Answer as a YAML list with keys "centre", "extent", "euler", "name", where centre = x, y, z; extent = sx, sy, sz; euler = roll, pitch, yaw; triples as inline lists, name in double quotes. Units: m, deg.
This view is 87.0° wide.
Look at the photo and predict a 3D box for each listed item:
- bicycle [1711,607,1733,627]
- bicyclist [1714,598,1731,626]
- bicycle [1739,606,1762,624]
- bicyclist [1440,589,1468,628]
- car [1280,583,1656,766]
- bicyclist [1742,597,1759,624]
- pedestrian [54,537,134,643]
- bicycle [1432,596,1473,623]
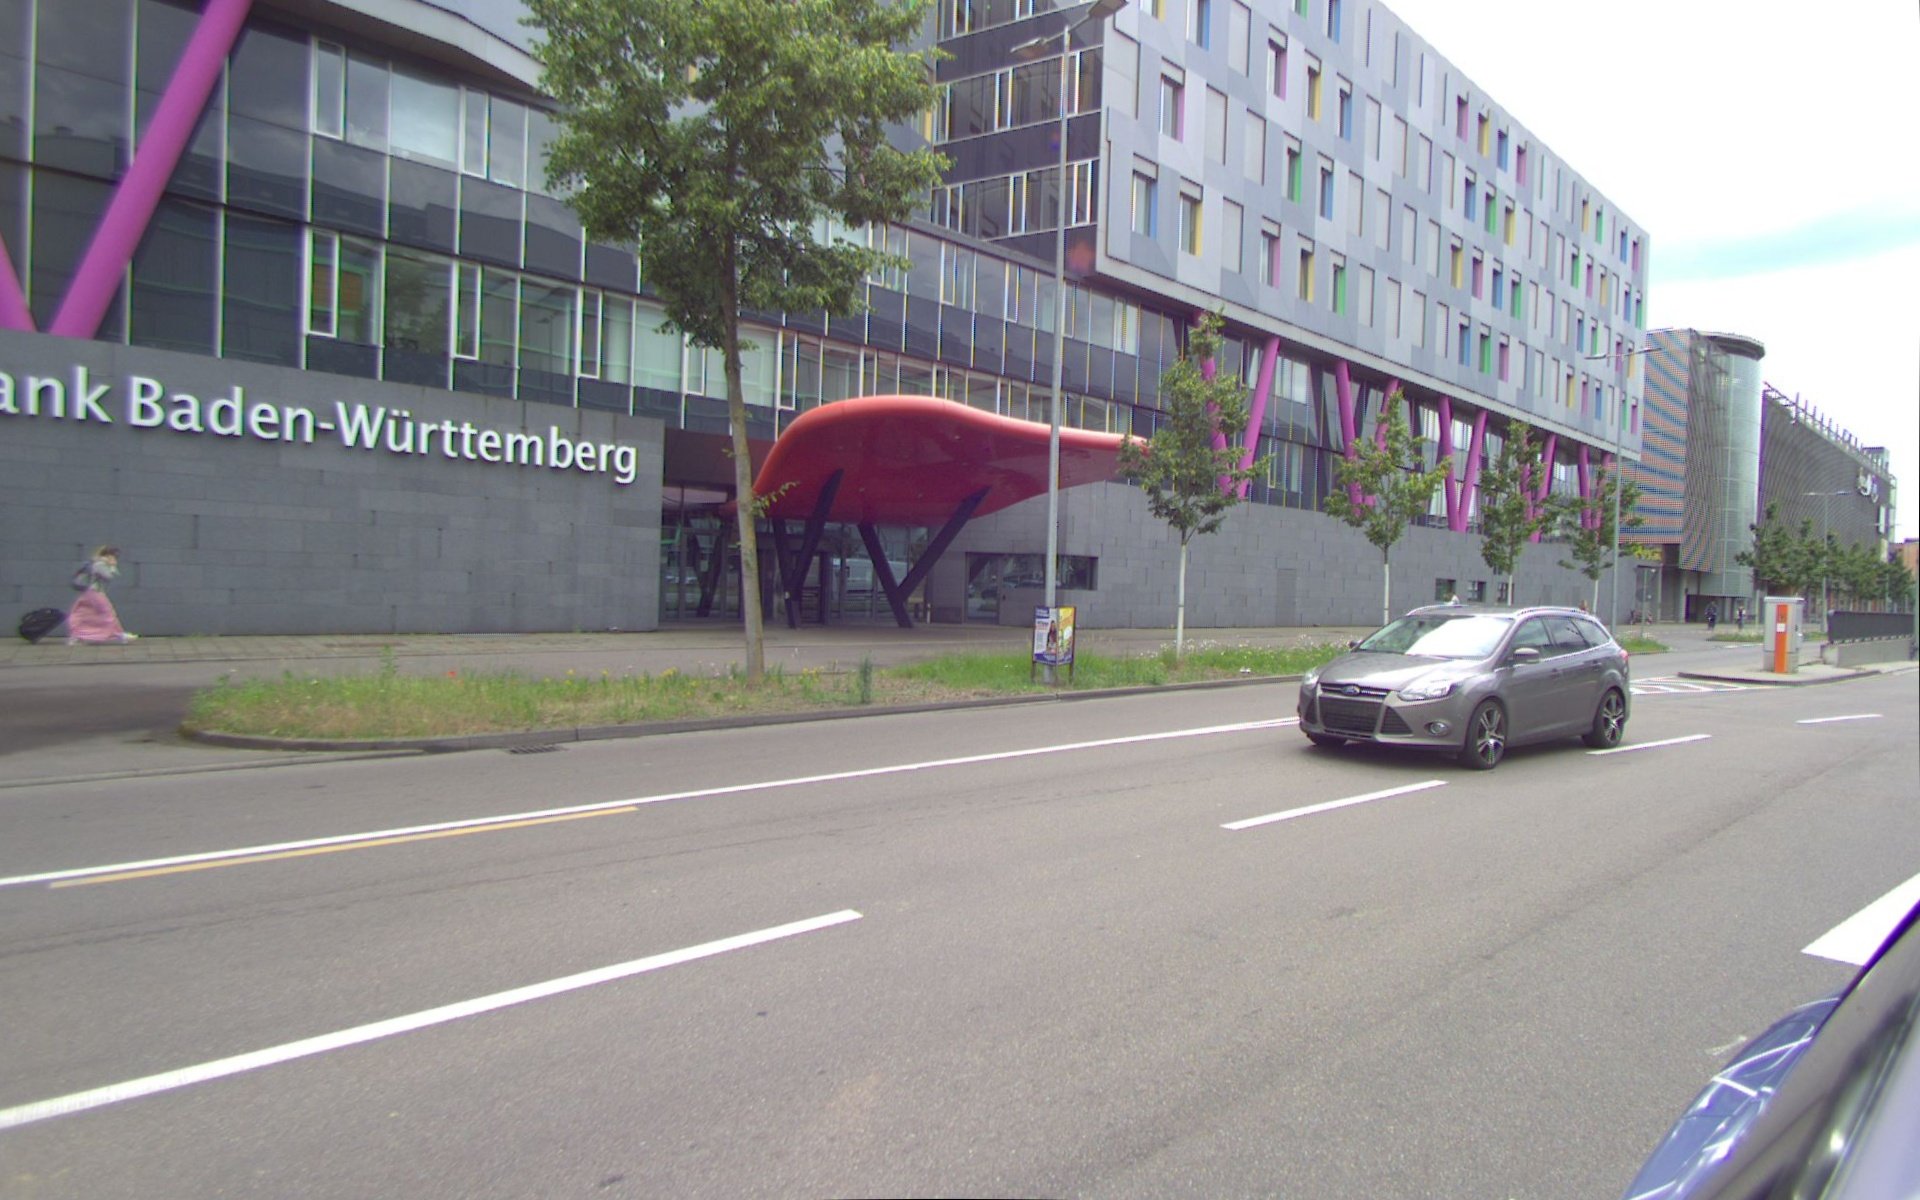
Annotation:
- centre: [52.196, 1.159, 69.309]
  extent: [2.303, 1.173, 0.800]
  euler: [6, -4, -42]
  name: "bicycle"
- centre: [52.175, 0.813, 69.275]
  extent: [0.692, 1.826, 0.783]
  euler: [6, -4, -41]
  name: "bicyclist"
- centre: [53.649, 1.035, 68.682]
  extent: [2.304, 1.173, 0.800]
  euler: [2, -1, -42]
  name: "bicycle"
- centre: [23.576, 0.386, 48.293]
  extent: [0.955, 1.809, 0.773]
  euler: [2, 0, -35]
  name: "bicyclist"
- centre: [5.347, 0.664, 10.446]
  extent: [4.188, 1.518, 1.753]
  euler: [2, 0, -37]
  name: "car"
- centre: [53.602, 0.710, 68.634]
  extent: [0.692, 1.825, 0.783]
  euler: [2, -1, -41]
  name: "bicyclist"
- centre: [-13.556, -0.151, 15.867]
  extent: [0.898, 1.602, 0.786]
  euler: [2, 1, -40]
  name: "pedestrian"
- centre: [23.498, 0.458, 48.241]
  extent: [2.178, 1.209, 0.785]
  euler: [2, 0, -36]
  name: "bicycle"
